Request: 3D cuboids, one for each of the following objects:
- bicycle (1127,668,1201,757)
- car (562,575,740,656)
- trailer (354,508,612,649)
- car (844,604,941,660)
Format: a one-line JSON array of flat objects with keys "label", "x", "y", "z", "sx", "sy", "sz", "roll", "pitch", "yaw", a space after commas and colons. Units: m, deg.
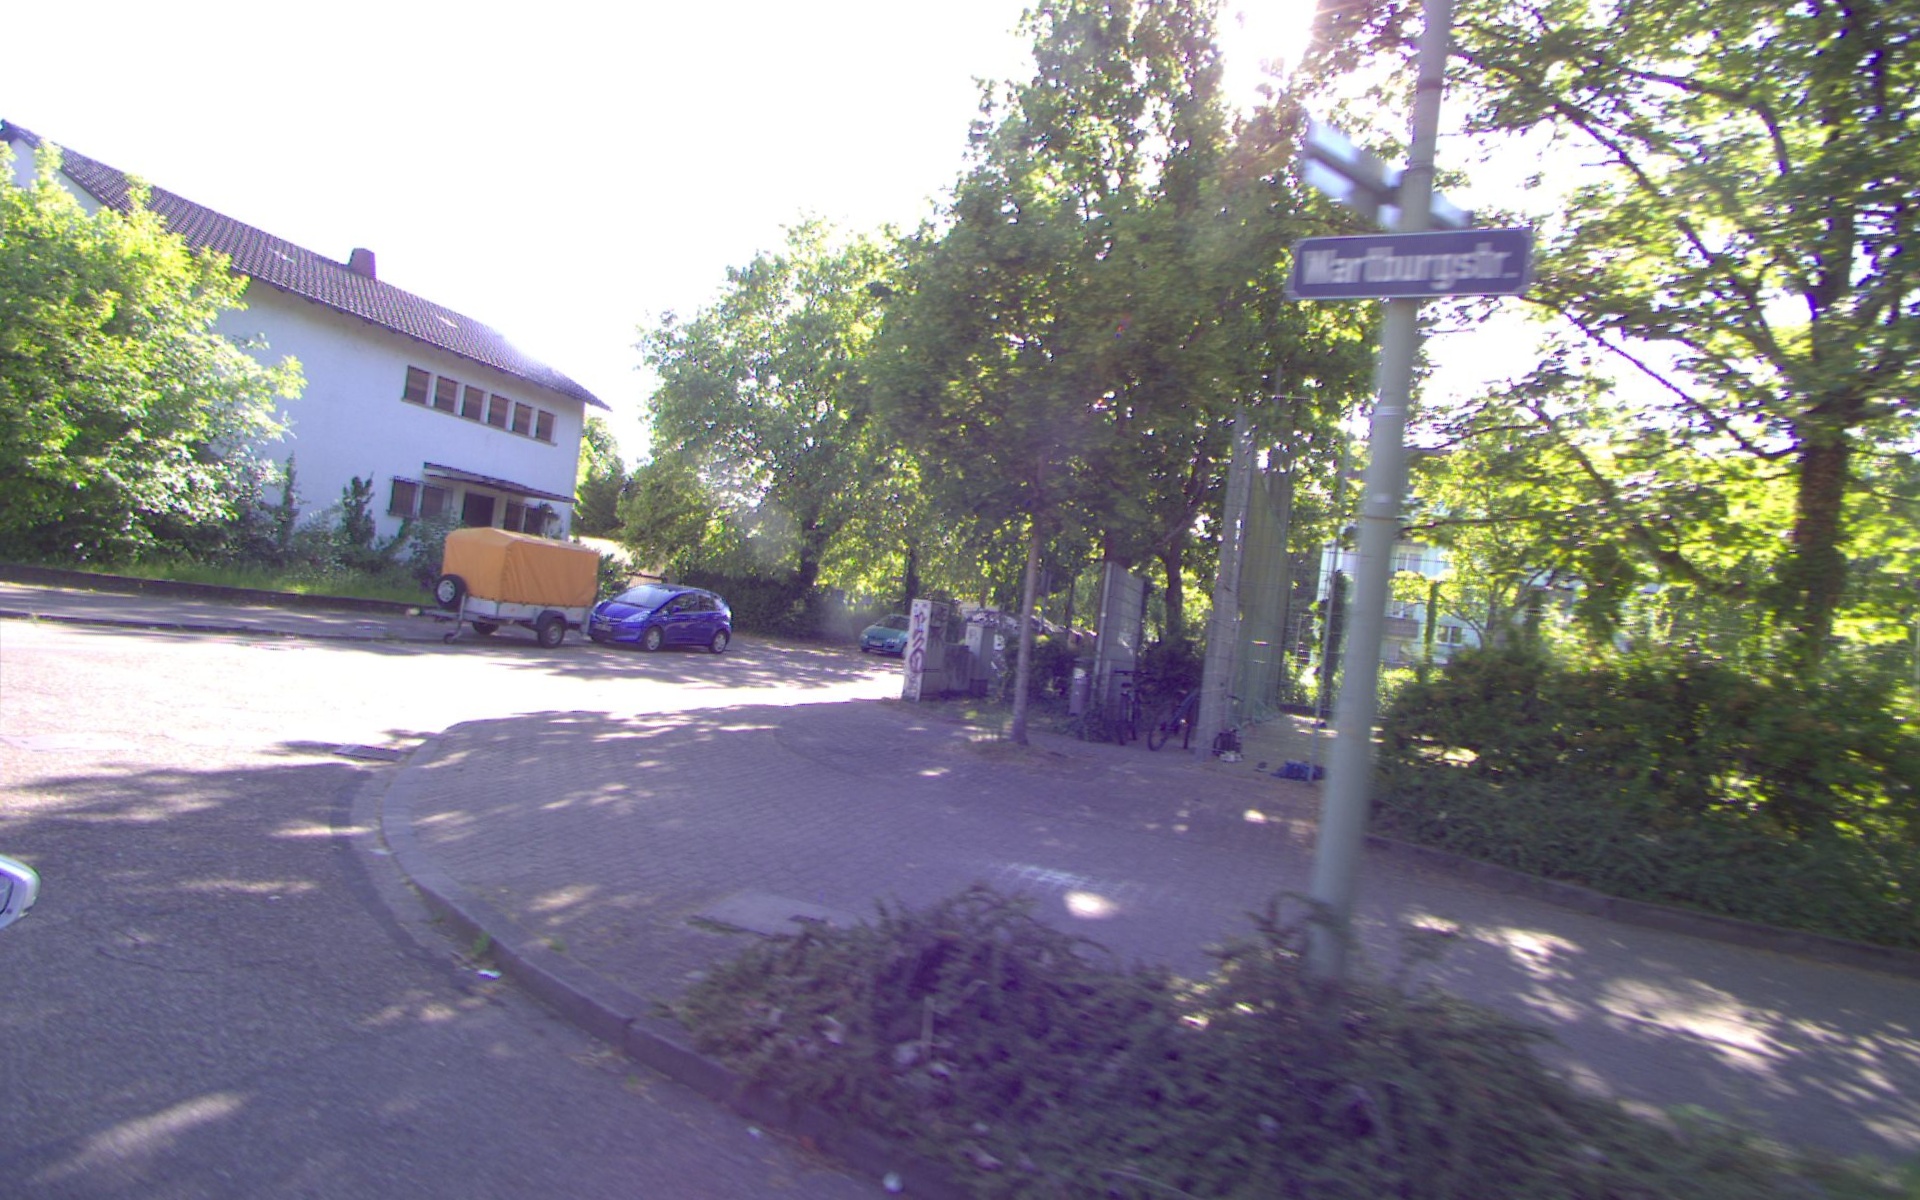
[{"label": "bicycle", "x": 2.503, "y": 1.375, "z": 12.428, "sx": 0.291, "sy": 0.970, "sz": 0.901, "roll": 7, "pitch": 0, "yaw": -27}, {"label": "car", "x": -7.130, "y": 0.426, "z": 23.647, "sx": 1.855, "sy": 1.530, "sz": 3.931, "roll": 6, "pitch": -1, "yaw": 22}, {"label": "trailer", "x": -8.956, "y": -0.296, "z": 19.296, "sx": 1.942, "sy": 2.145, "sz": 4.076, "roll": 8, "pitch": 0, "yaw": 20}, {"label": "car", "x": -2.411, "y": 1.230, "z": 37.022, "sx": 1.839, "sy": 1.670, "sz": 4.001, "roll": 7, "pitch": -1, "yaw": 22}]
